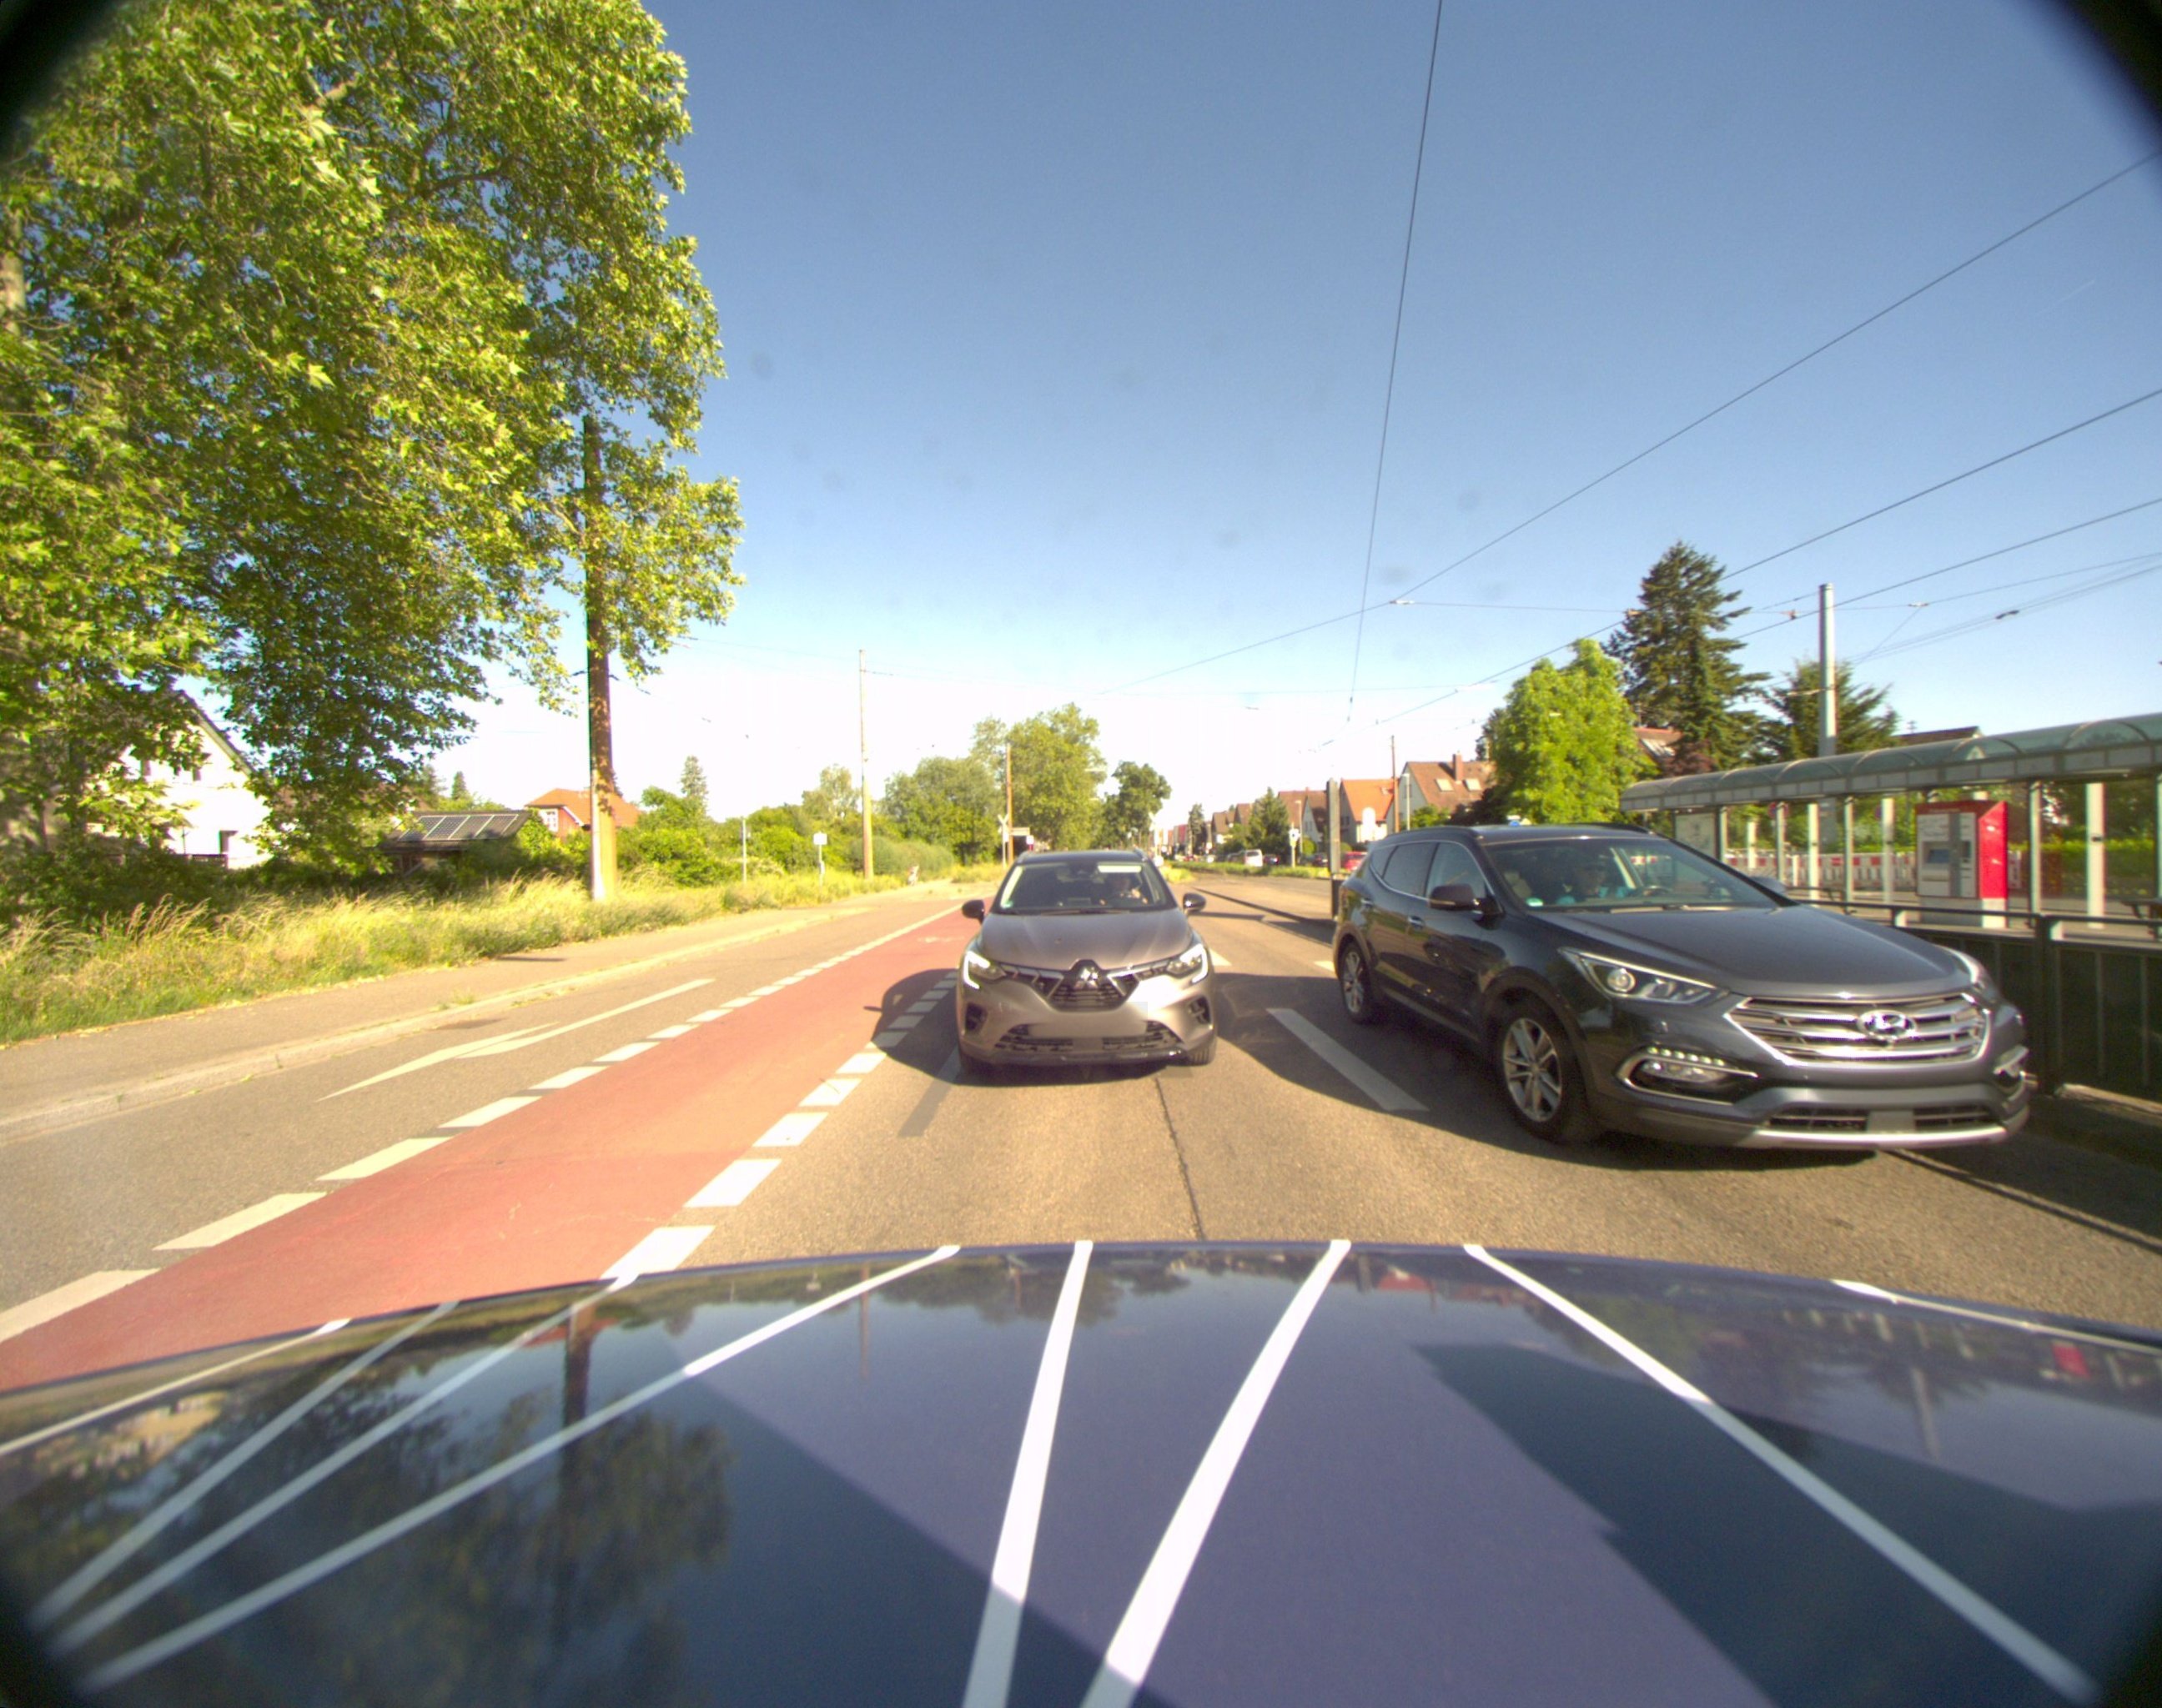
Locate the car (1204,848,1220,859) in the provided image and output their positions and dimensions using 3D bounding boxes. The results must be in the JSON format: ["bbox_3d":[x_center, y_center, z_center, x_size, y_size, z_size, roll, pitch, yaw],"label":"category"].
[{"bbox_3d":[22.062,-0.107,127.961,1.998,1.852,4.584,-2,0,1],"label":"car"}]

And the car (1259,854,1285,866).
[{"bbox_3d":[22.124,0.660,87.986,1.998,1.363,4.310,-2,0,1],"label":"car"}]

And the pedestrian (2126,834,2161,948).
[{"bbox_3d":[14.228,0.486,9.425,1.063,1.444,1.007,2,1,0],"label":"pedestrian"}]

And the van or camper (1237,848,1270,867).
[{"bbox_3d":[17.190,0.306,75.893,1.998,1.817,5.987,-1,0,0],"label":"van or camper"}]

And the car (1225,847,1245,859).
[{"bbox_3d":[21.776,-0.092,107.408,1.888,1.552,4.536,-3,0,0],"label":"car"}]

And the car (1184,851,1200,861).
[{"bbox_3d":[17.462,0.238,119.706,1.740,1.511,4.344,-1,0,0],"label":"car"}]

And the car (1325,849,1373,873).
[{"bbox_3d":[16.930,0.417,48.154,1.608,1.394,4.016,0,1,0],"label":"car"}]

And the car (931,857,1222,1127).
[{"bbox_3d":[-0.041,0.825,6.278,1.673,1.529,3.586,-2,0,-1],"label":"car"}]

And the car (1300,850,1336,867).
[{"bbox_3d":[21.615,0.398,69.382,1.912,1.457,4.440,-3,1,0],"label":"car"}]

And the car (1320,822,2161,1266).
[{"bbox_3d":[3.131,0.708,4.963,1.780,1.620,4.288,-1,0,0],"label":"car"}]
